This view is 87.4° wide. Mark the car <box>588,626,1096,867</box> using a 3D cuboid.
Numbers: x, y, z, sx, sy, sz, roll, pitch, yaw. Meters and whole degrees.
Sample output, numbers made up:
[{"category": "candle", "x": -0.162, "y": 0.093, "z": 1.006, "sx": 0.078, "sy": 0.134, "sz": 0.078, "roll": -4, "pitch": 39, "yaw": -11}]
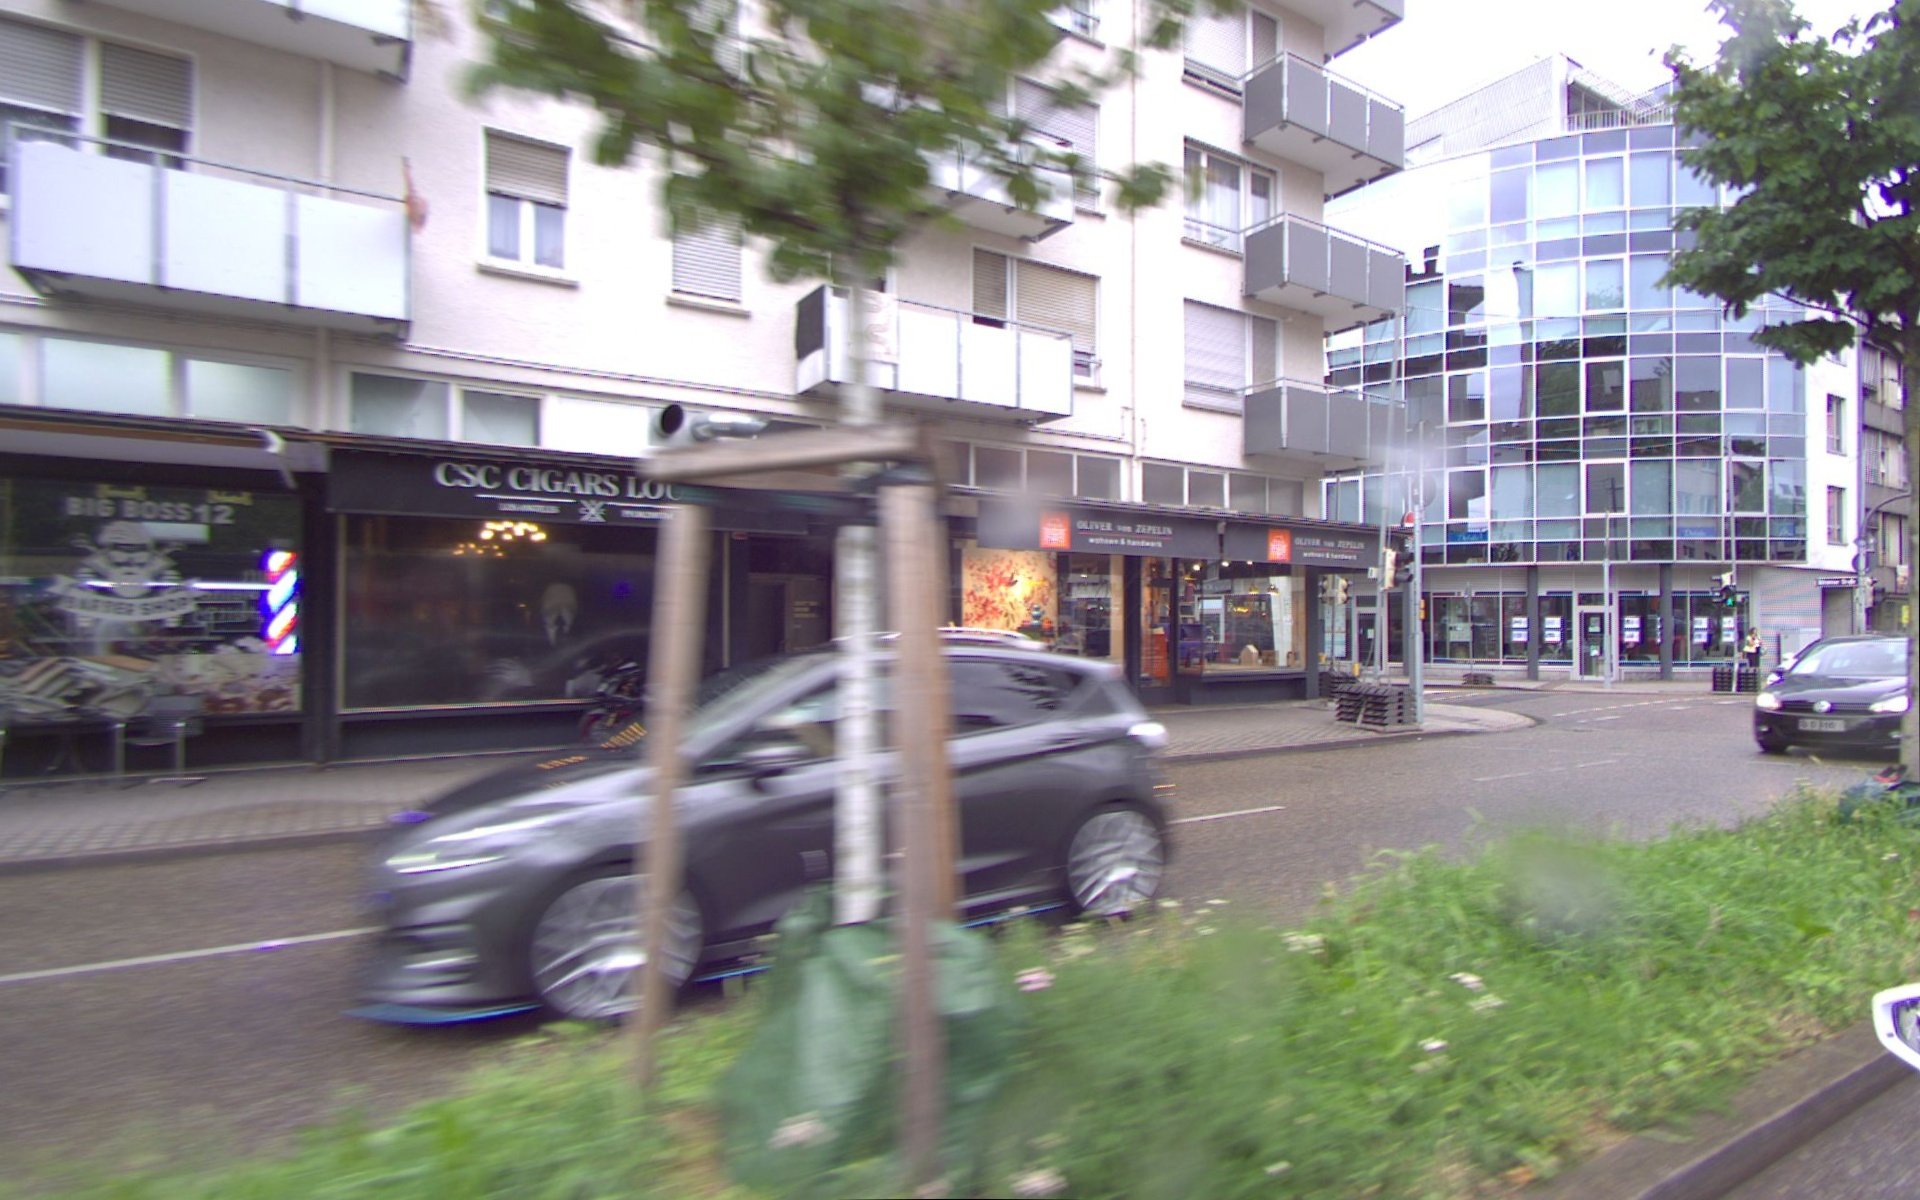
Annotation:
[{"category": "car", "x": -0.948, "y": 1.070, "z": 8.646, "sx": 3.982, "sy": 1.609, "sz": 1.763, "roll": 1, "pitch": -3, "yaw": -32}]

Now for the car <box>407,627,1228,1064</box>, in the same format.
[{"category": "car", "x": -0.613, "y": 0.900, "z": 5.131, "sx": 3.797, "sy": 1.460, "sz": 1.689, "roll": 1, "pitch": -4, "yaw": -32}]

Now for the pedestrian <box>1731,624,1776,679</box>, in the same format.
[{"category": "pedestrian", "x": 23.806, "y": 1.532, "z": 30.136, "sx": 0.816, "sy": 1.629, "sz": 0.626, "roll": 0, "pitch": -2, "yaw": -5}]

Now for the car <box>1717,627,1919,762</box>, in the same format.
[{"category": "car", "x": 11.586, "y": 1.090, "z": 12.727, "sx": 4.111, "sy": 1.460, "sz": 1.808, "roll": 1, "pitch": -3, "yaw": -32}]

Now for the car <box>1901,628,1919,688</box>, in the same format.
[{"category": "car", "x": 26.174, "y": 1.466, "z": 25.864, "sx": 3.955, "sy": 1.517, "sz": 1.838, "roll": 1, "pitch": -3, "yaw": -32}]

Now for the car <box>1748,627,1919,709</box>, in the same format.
[{"category": "car", "x": 17.766, "y": 1.298, "z": 19.920, "sx": 4.562, "sy": 1.436, "sz": 1.836, "roll": 0, "pitch": -4, "yaw": -31}]

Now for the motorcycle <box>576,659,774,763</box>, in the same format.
[{"category": "motorcycle", "x": -3.384, "y": 1.281, "z": 12.025, "sx": 2.172, "sy": 1.102, "sz": 0.664, "roll": 2, "pitch": 0, "yaw": -33}]
